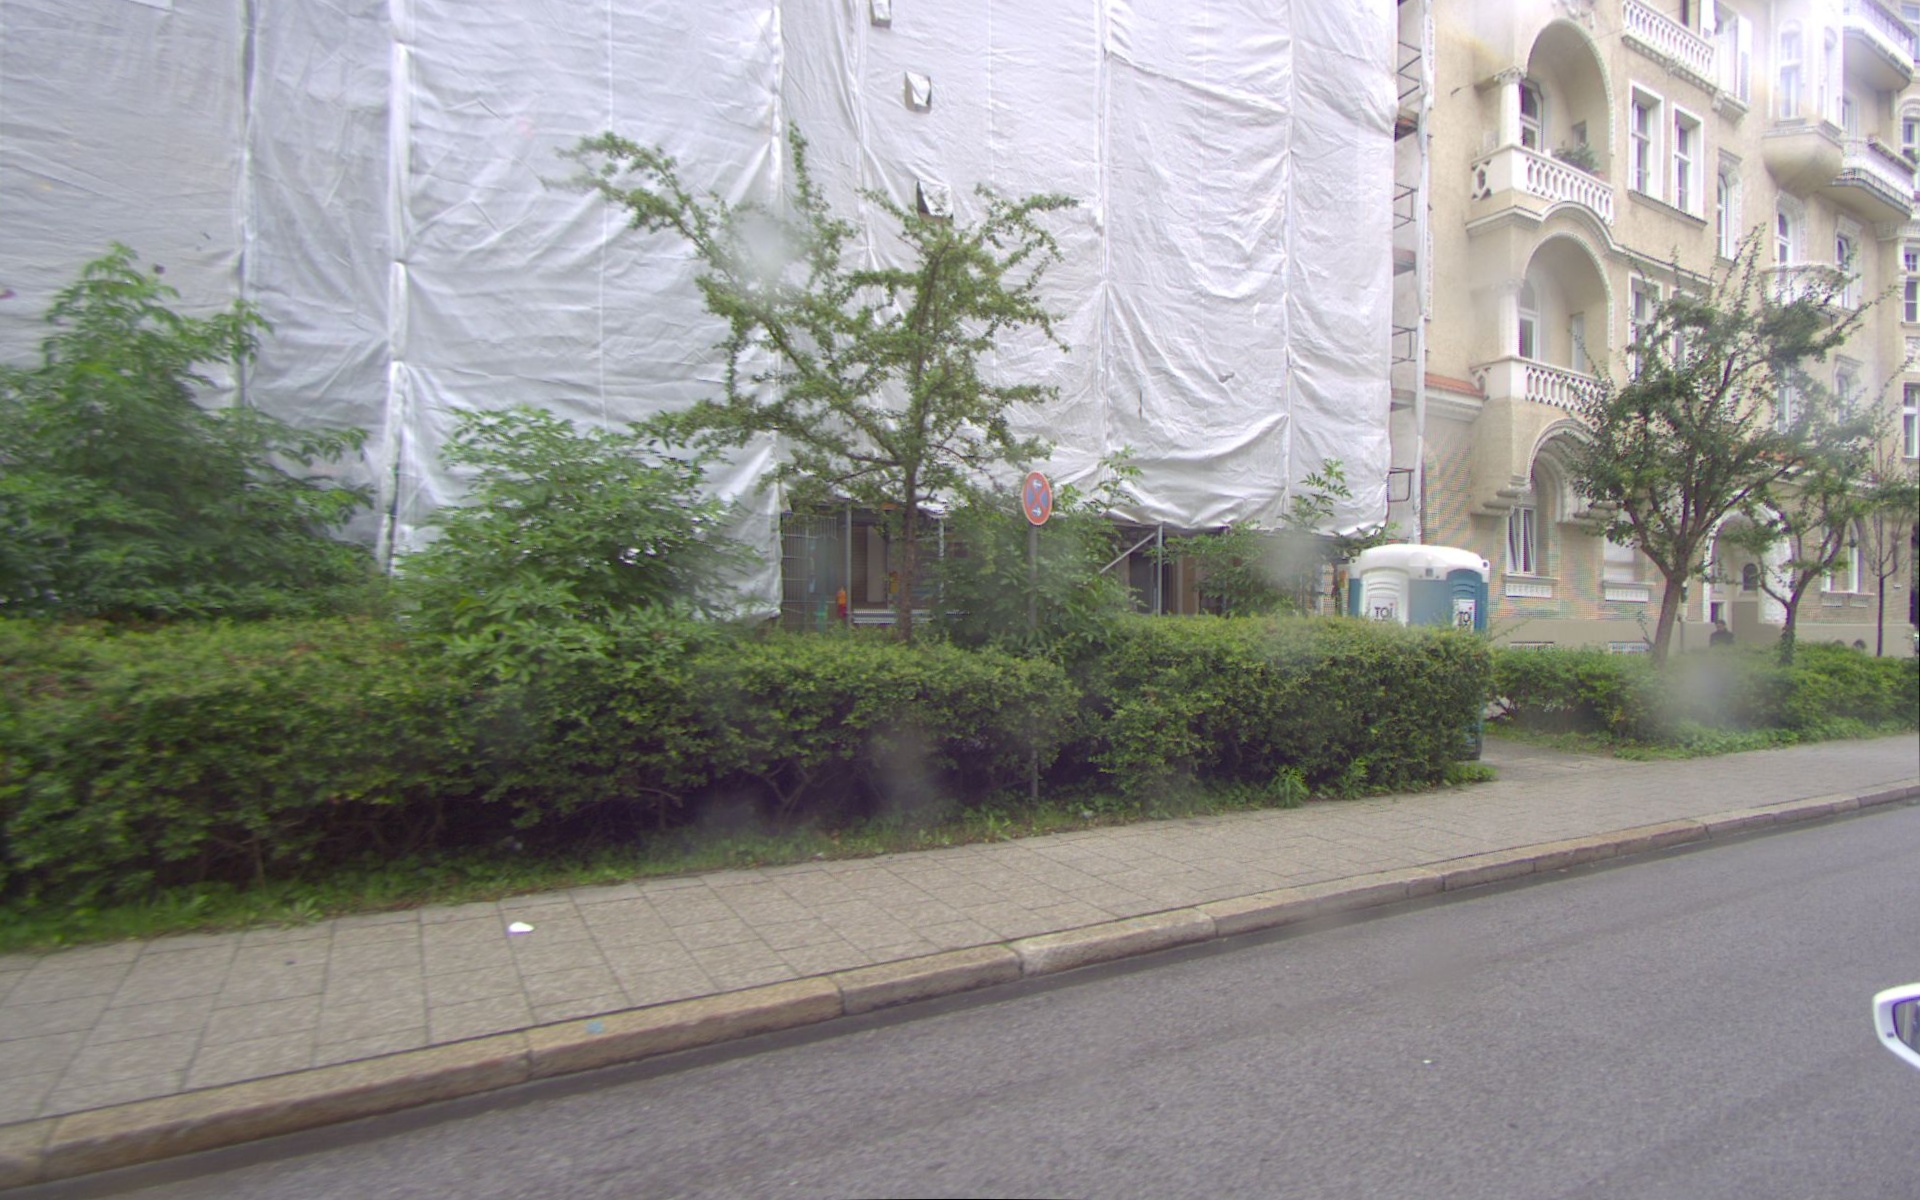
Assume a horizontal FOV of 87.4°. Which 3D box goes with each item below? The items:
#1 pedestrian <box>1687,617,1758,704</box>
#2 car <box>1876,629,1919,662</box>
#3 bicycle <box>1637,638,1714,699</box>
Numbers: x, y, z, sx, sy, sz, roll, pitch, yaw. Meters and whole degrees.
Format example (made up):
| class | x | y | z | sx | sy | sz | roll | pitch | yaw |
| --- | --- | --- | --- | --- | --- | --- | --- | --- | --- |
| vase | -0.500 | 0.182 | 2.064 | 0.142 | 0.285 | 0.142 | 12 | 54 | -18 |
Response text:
| class | x | y | z | sx | sy | sz | roll | pitch | yaw |
| --- | --- | --- | --- | --- | --- | --- | --- | --- | --- |
| pedestrian | 16.118 | 1.263 | 21.241 | 0.937 | 1.774 | 0.909 | 1 | -1 | -30 |
| car | 57.487 | 2.760 | 60.958 | 4.820 | 1.920 | 1.913 | 2 | -2 | -36 |
| bicycle | 15.711 | 1.484 | 22.061 | 1.682 | 1.293 | 0.742 | 1 | -1 | -29 |
